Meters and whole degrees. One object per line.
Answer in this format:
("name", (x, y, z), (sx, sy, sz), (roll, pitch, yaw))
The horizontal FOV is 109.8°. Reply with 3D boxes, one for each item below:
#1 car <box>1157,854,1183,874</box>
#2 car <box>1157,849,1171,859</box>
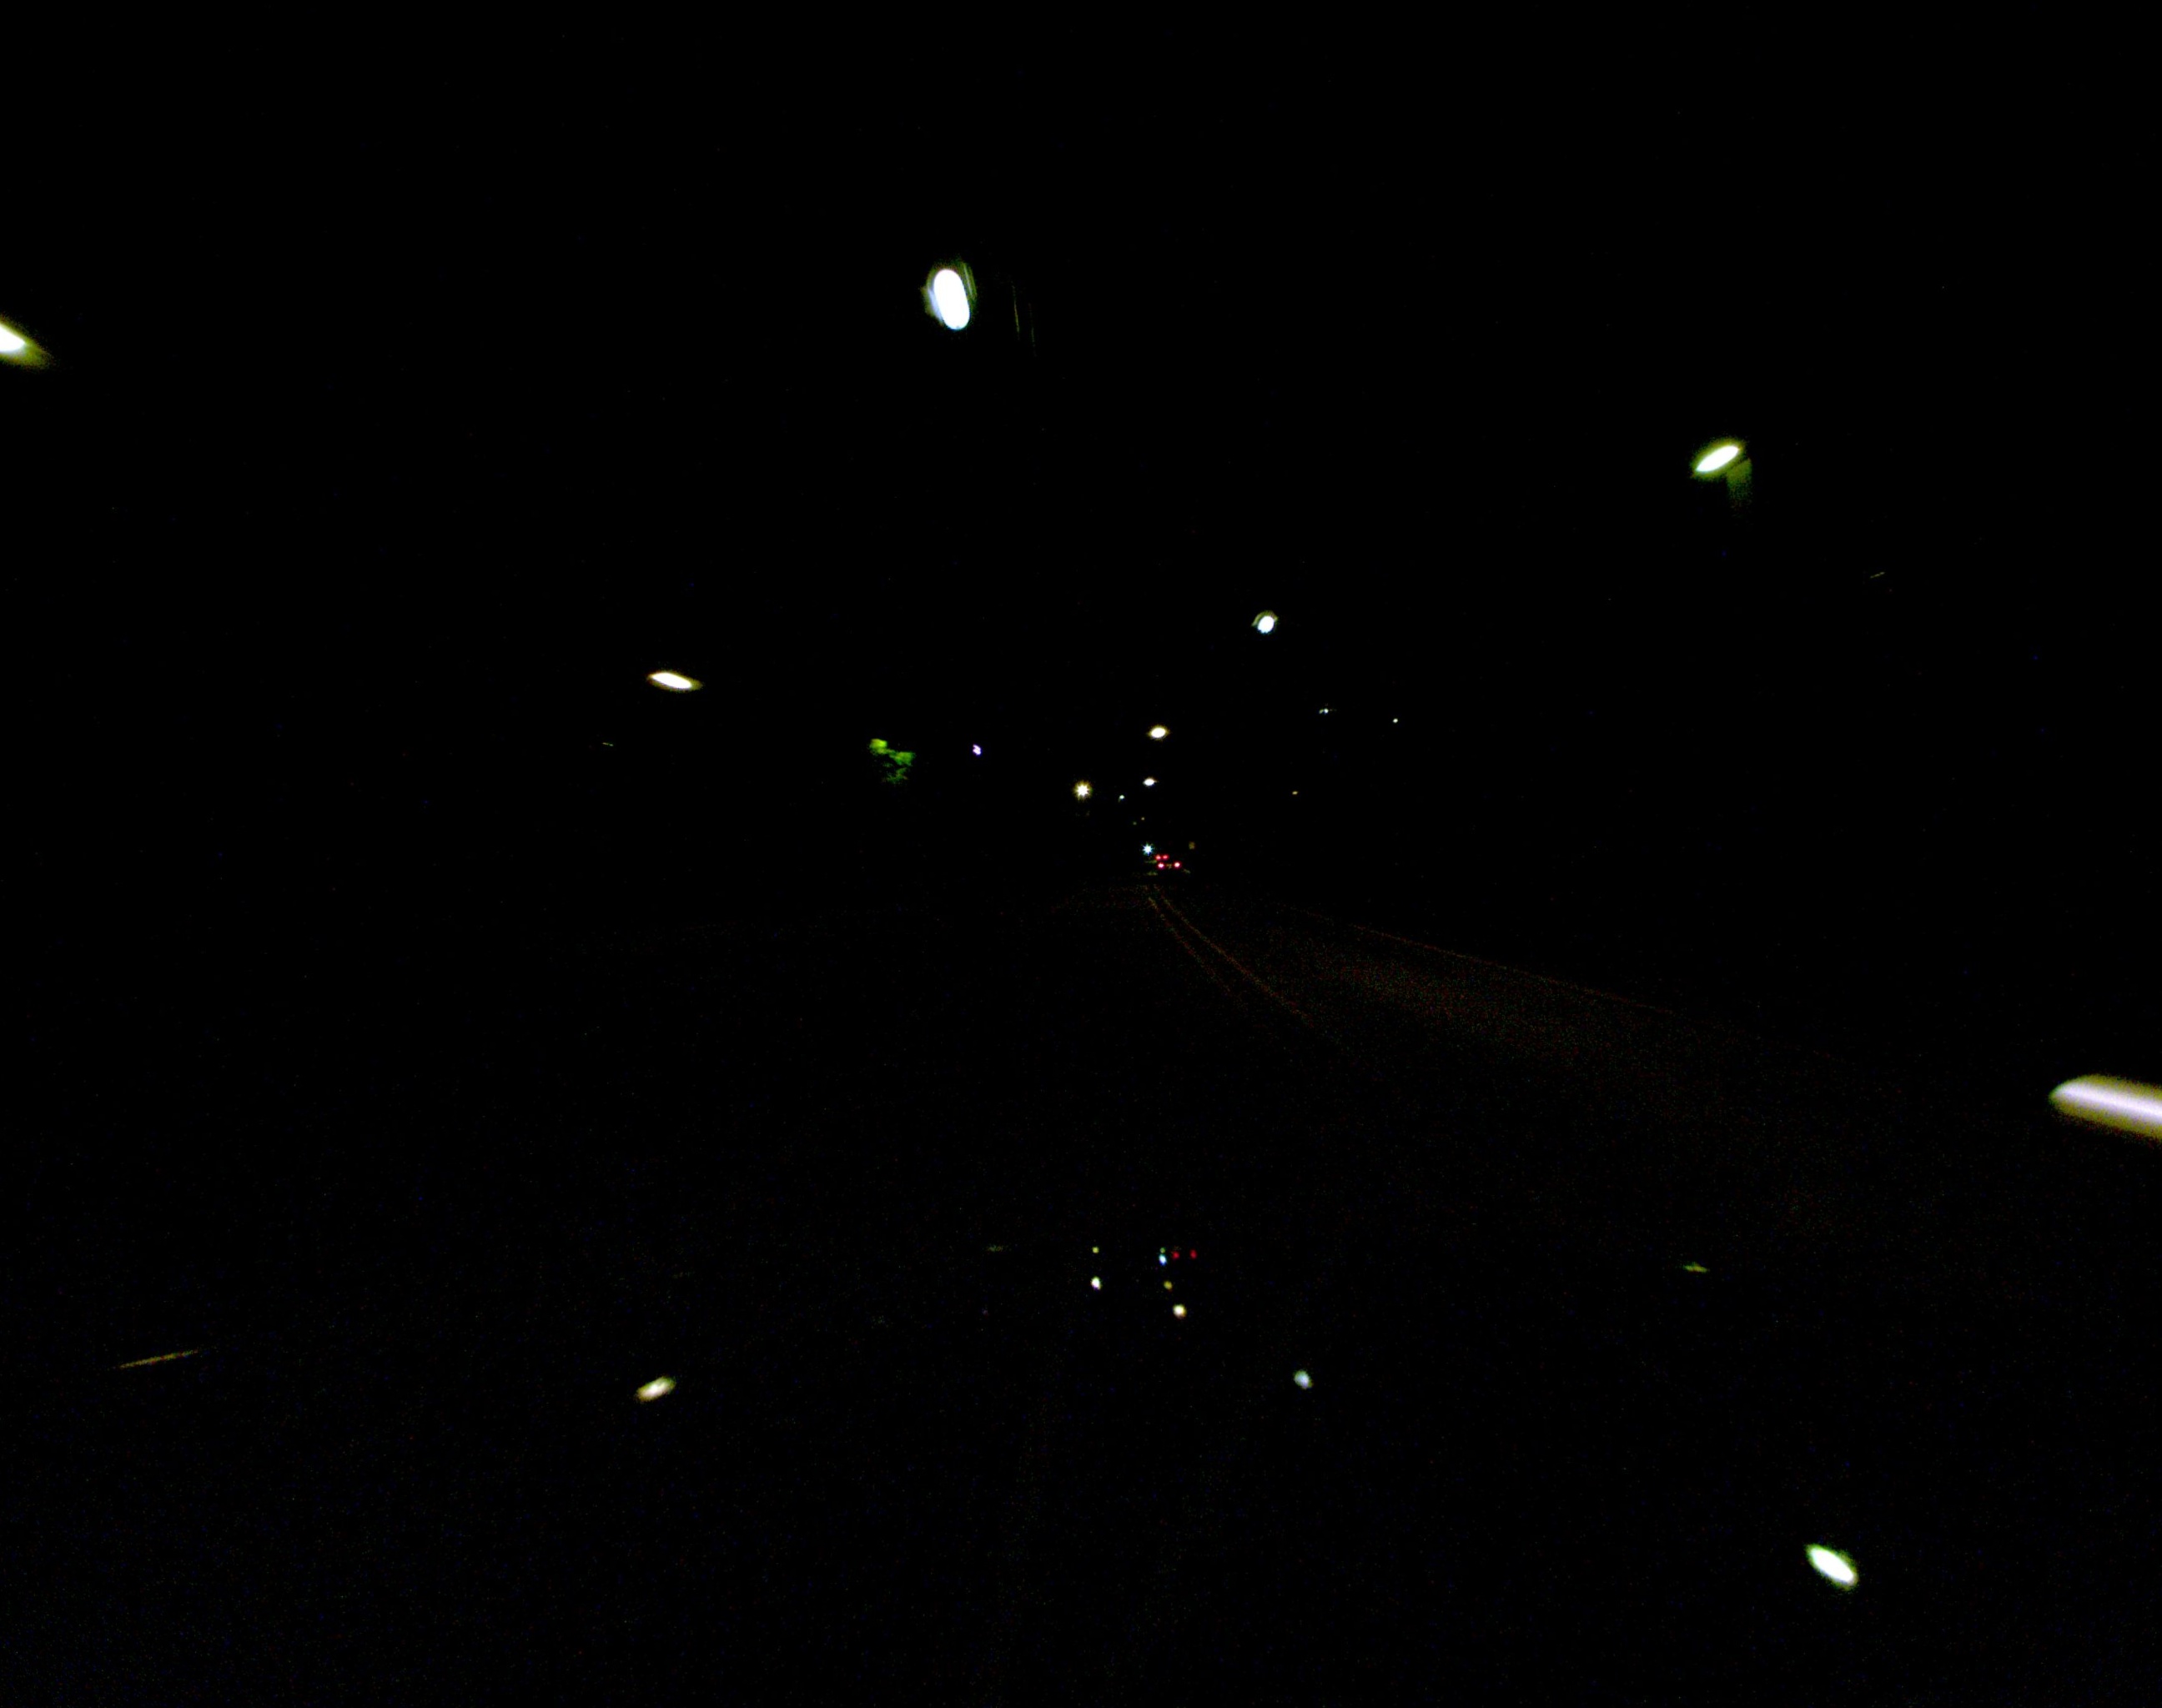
("car", (7.349, 0.778, 62.907), (1.792, 1.439, 4.172), (-3, 1, 3))
("car", (14.248, -0.023, 130.230), (1.885, 1.545, 4.220), (-2, 1, 11))
